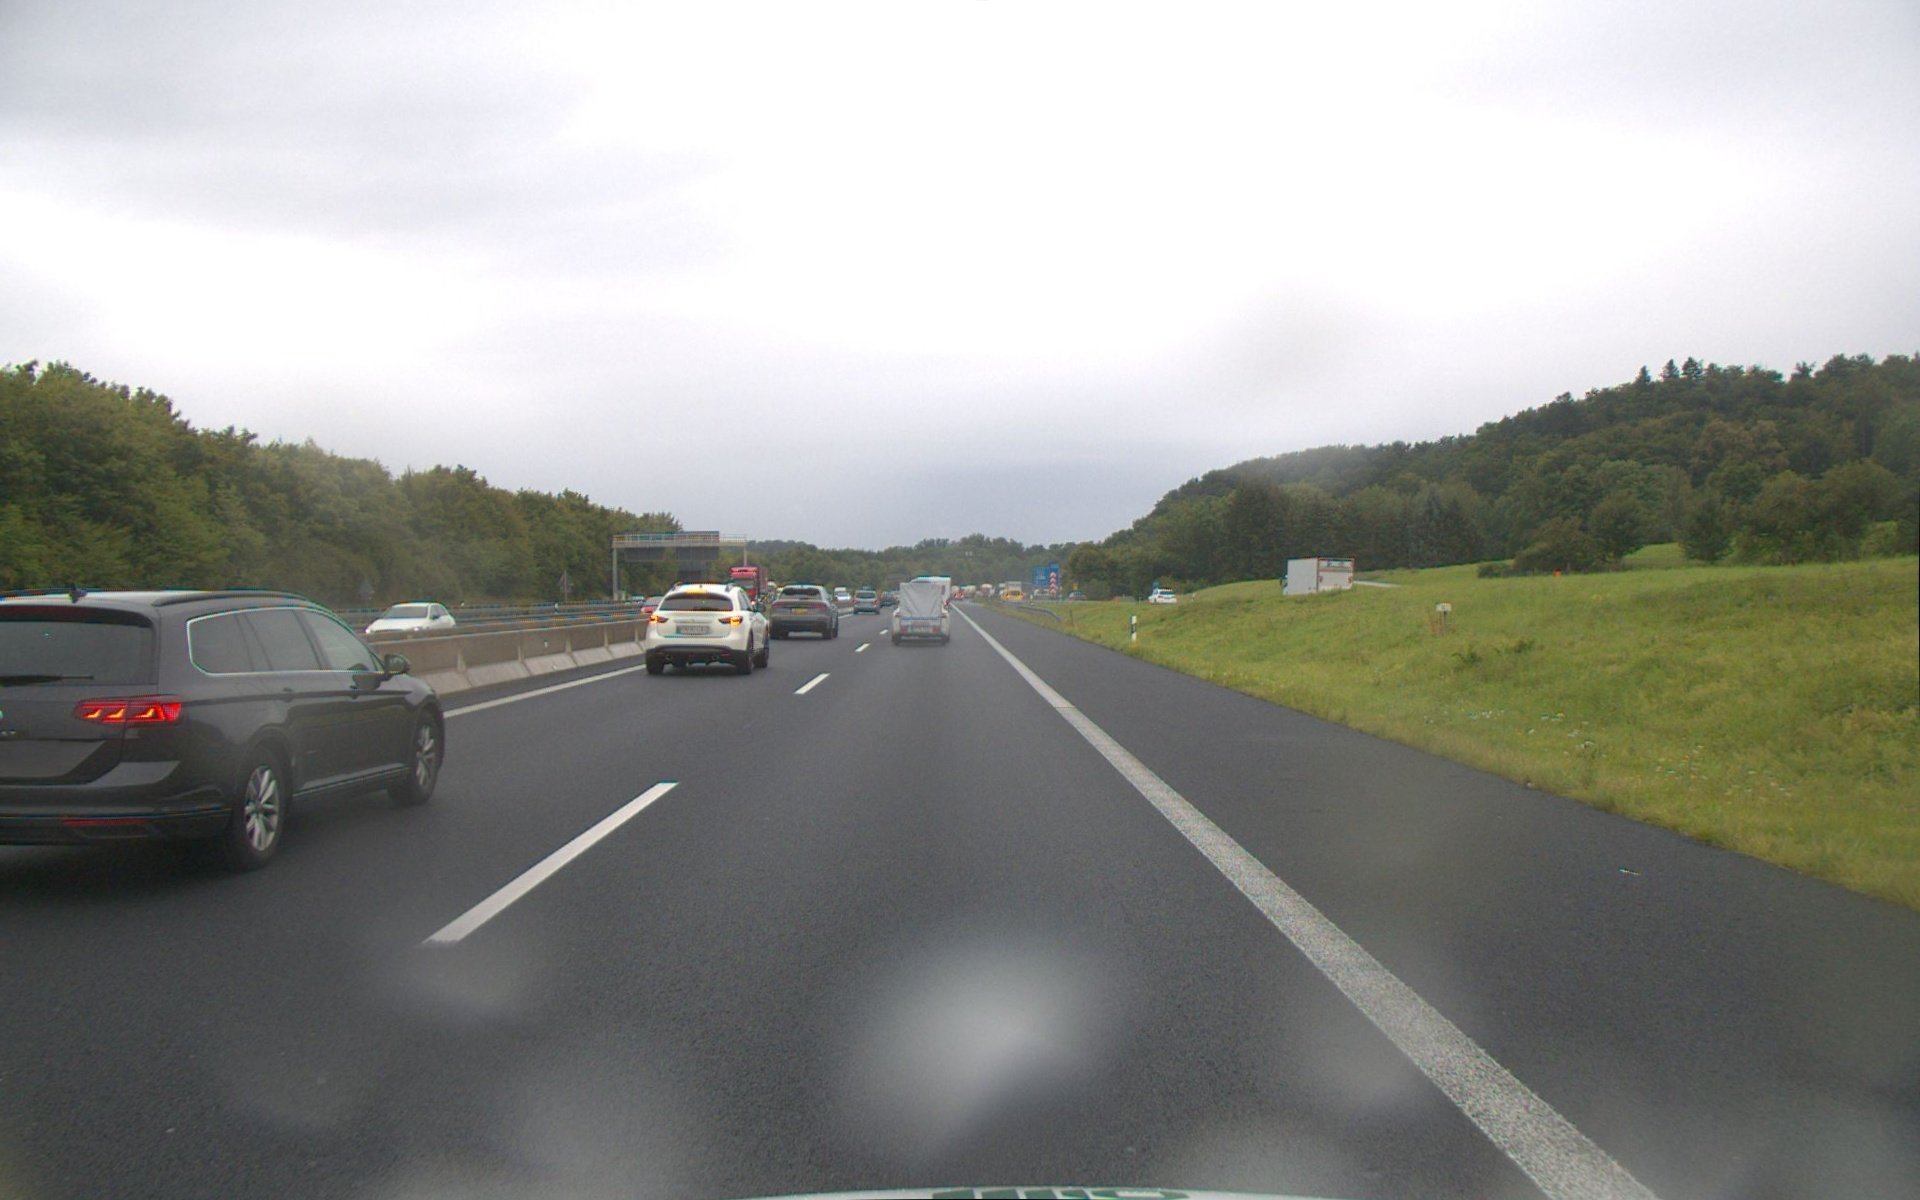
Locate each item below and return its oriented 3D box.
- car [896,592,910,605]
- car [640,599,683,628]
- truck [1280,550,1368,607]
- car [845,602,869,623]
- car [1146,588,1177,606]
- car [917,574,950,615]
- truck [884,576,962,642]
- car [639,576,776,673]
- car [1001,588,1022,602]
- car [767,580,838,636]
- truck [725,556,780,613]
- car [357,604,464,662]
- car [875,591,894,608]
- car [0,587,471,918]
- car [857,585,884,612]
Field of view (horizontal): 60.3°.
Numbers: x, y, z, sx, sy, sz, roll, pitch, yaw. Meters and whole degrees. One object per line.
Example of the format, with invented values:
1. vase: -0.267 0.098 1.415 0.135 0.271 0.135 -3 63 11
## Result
1. car: -6.895 -0.170 201.304 1.612 1.601 3.999 1 0 -1
2. car: -17.154 0.739 95.257 1.689 1.580 4.581 1 0 -1
3. truck: 25.273 -1.455 115.324 3.750 3.723 8.264 1 0 -4
4. car: -8.570 1.015 137.663 1.782 1.691 4.016 0 0 -1
5. car: 18.107 -0.302 148.548 1.955 1.579 3.995 1 0 -6
6. car: -1.870 -0.371 115.432 2.284 2.773 6.538 0 0 -1
7. truck: -1.150 0.242 50.575 2.197 1.871 6.582 0 0 -2
8. car: -4.749 0.423 31.725 2.007 1.699 4.540 1 0 -1
9. car: 6.079 -0.636 194.145 1.955 1.579 3.995 1 0 -6
10. car: -5.095 0.233 54.182 1.936 1.733 4.801 1 0 -1
11. truck: -18.154 -1.337 145.548 3.330 4.816 10.486 1 0 1
12. car: -16.972 0.994 51.294 1.953 1.691 4.312 0 0 -1
13. car: -7.270 -0.057 159.517 1.612 1.601 3.999 1 0 -1
14. car: -4.510 0.676 9.875 1.751 1.484 4.802 1 0 0
15. car: -6.171 -0.127 114.796 1.703 1.825 3.999 1 0 -1
